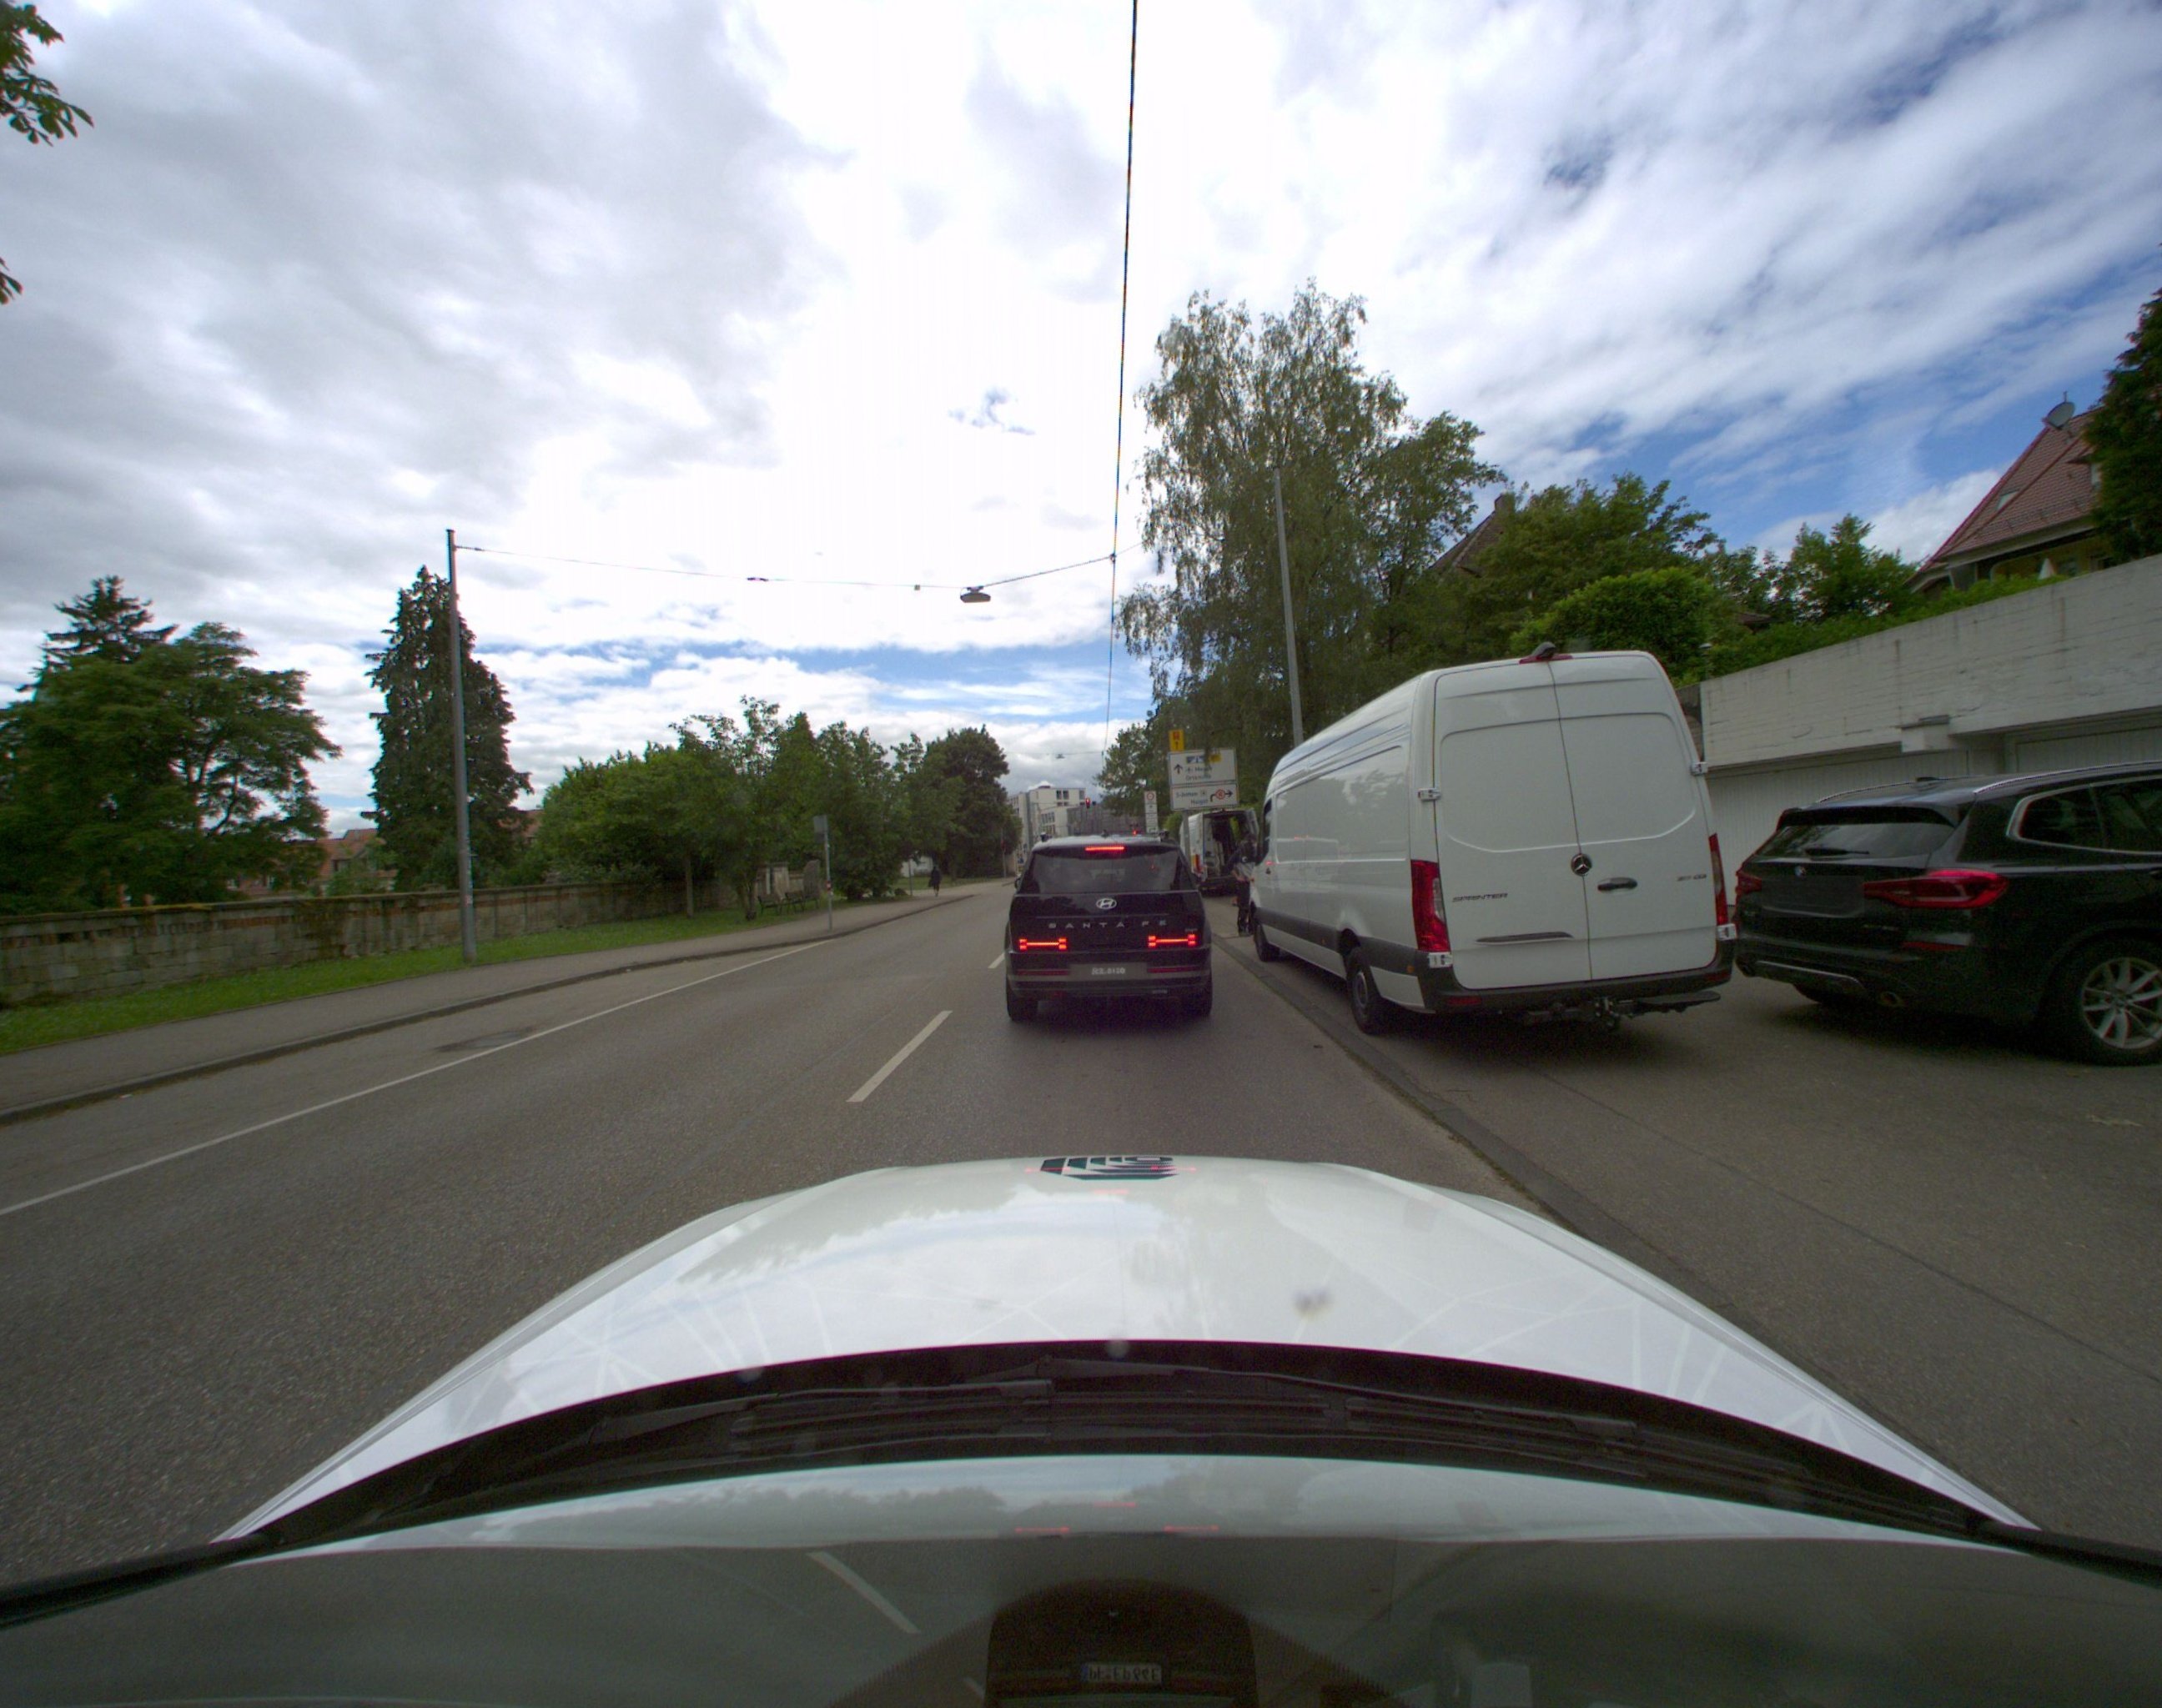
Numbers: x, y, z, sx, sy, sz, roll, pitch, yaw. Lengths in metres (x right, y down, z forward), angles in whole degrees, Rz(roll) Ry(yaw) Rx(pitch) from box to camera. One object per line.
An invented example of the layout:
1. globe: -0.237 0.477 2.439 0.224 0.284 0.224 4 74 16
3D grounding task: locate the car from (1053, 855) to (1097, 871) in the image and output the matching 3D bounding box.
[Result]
1. car: -0.679 1.002 90.200 4.697 1.748 1.997 0 -1 -5

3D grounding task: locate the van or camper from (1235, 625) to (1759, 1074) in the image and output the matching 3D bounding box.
1. van or camper: 3.135 -0.022 8.206 1.986 2.620 6.543 -3 0 2

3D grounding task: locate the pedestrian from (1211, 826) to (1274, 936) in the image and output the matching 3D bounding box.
1. pedestrian: 2.764 0.451 14.015 0.867 1.797 0.760 -3 0 1

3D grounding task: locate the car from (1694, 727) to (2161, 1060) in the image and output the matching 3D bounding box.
1. car: 6.863 0.138 5.236 4.398 1.750 1.739 -3 0 3

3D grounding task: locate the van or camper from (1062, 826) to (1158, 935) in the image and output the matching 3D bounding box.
1. van or camper: 0.618 0.512 17.620 1.748 2.013 4.002 -3 0 2

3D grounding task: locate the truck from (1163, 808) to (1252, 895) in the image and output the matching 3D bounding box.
1. truck: 4.218 -0.057 28.053 1.937 2.561 5.213 -5 -1 -1

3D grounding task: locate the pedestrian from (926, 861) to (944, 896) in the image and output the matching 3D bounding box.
1. pedestrian: -7.347 1.213 41.016 0.737 1.715 0.791 -3 0 -5

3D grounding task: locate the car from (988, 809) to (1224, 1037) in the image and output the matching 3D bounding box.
1. car: 0.267 0.571 8.677 1.883 1.819 4.002 -2 0 2
